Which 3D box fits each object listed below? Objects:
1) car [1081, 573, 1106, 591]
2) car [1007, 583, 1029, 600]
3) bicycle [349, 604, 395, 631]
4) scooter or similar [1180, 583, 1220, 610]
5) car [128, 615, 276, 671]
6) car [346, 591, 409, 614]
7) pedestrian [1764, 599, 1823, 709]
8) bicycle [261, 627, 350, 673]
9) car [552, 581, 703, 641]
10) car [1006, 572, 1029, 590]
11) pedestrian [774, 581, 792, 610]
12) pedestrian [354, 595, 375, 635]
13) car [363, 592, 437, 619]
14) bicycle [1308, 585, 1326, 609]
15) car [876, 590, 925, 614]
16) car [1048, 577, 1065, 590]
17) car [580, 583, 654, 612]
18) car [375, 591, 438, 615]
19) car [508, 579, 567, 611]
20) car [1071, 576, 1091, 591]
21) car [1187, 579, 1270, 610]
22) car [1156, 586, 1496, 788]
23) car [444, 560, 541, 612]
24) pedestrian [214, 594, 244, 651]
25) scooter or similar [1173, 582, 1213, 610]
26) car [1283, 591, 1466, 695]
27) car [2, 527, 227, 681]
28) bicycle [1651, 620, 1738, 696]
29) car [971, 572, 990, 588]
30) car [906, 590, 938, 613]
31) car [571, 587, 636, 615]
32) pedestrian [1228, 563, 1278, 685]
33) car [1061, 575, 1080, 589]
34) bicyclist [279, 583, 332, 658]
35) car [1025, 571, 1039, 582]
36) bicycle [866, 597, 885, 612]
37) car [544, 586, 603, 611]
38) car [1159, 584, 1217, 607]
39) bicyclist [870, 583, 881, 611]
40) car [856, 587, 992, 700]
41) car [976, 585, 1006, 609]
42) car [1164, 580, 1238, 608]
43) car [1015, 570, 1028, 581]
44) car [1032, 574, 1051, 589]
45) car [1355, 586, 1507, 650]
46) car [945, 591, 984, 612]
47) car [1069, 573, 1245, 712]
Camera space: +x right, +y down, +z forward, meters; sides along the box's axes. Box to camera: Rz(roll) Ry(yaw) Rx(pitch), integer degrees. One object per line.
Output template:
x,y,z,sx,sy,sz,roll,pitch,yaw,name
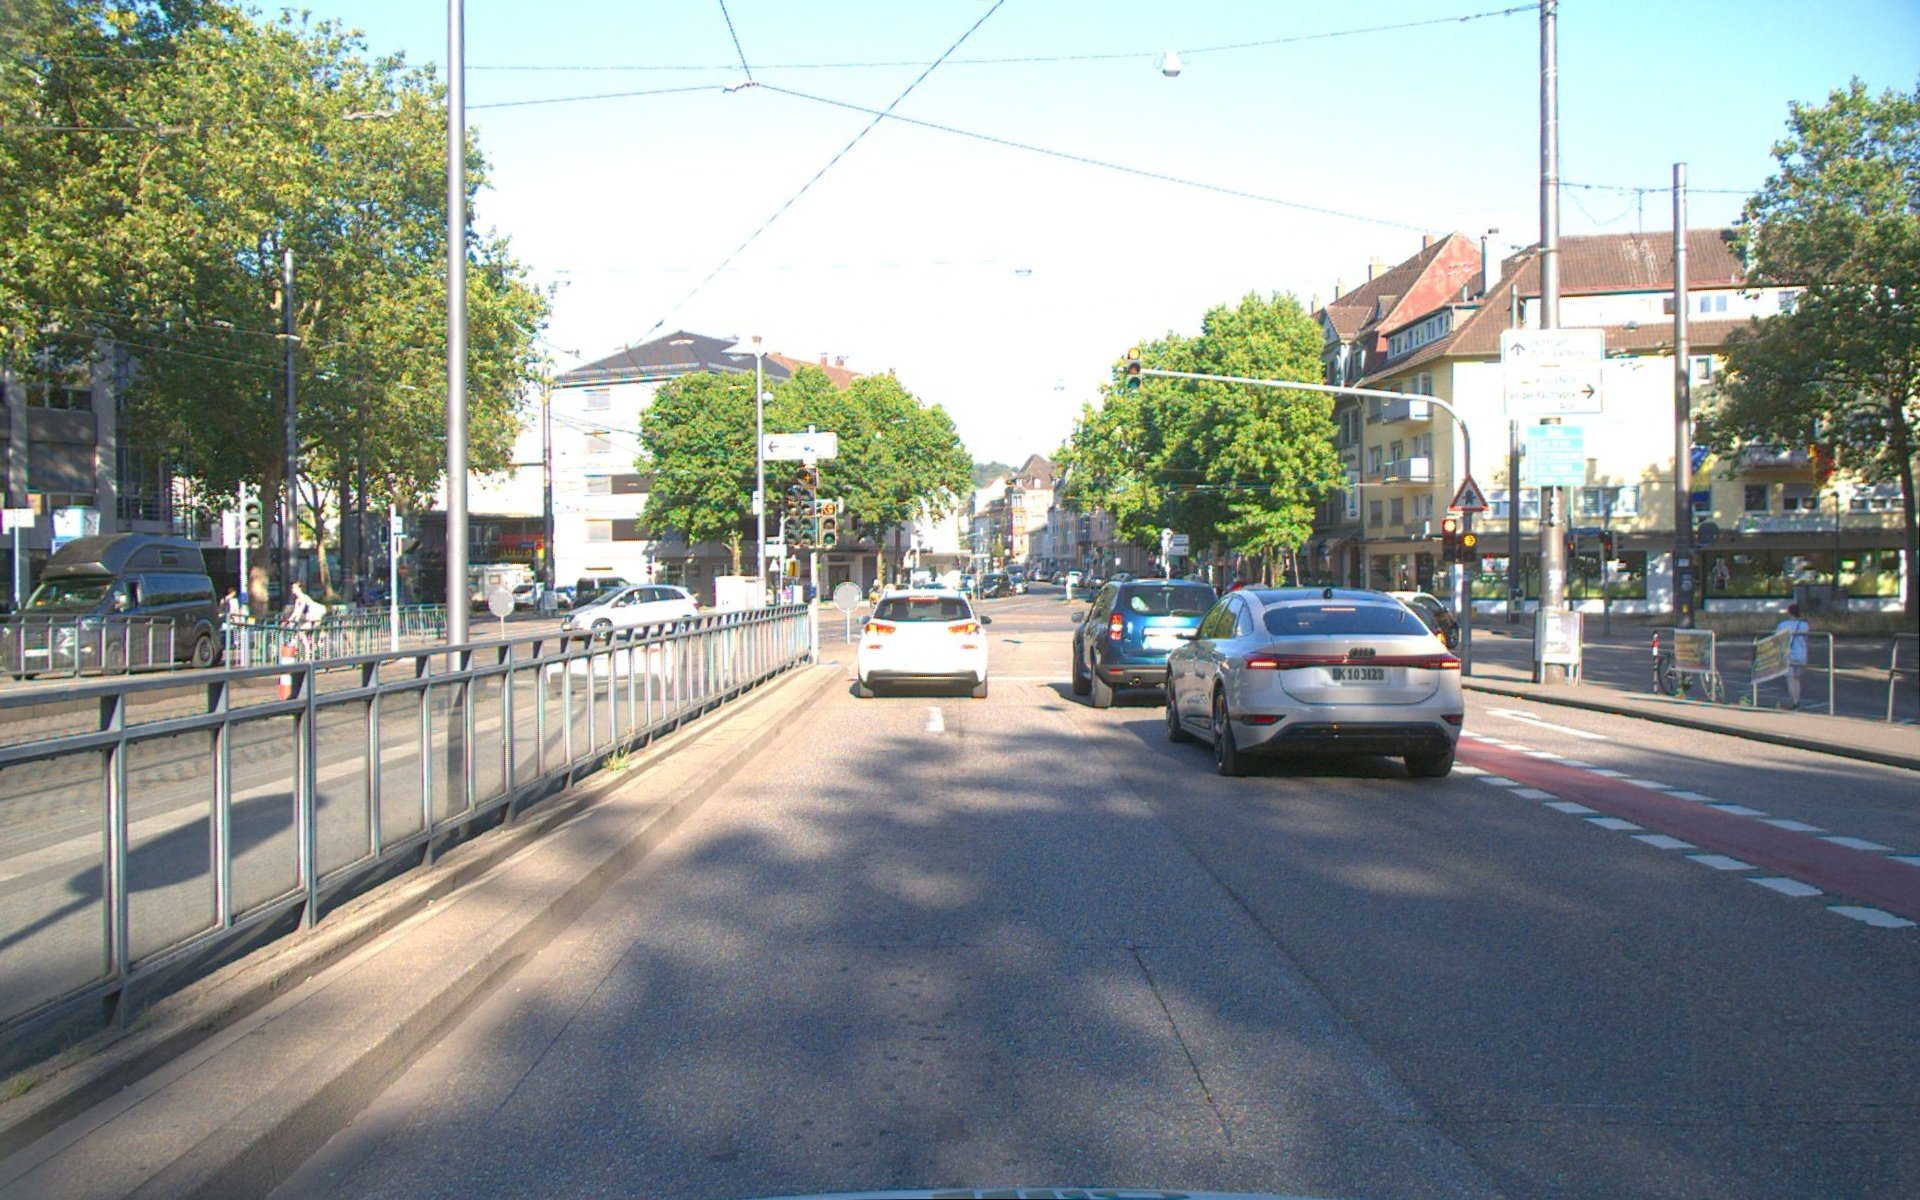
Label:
13.575,-1.865,168.342,2.062,1.807,4.340,-1,0,-1,car
5.375,-0.786,154.576,1.758,1.536,3.999,-1,0,-2,car
-25.035,0.758,70.435,1.757,1.127,0.500,-1,0,2,bicycle
11.648,-0.179,80.236,1.915,1.303,0.550,0,0,41,scooter or similar
-16.681,0.933,36.551,2.026,1.183,2.910,0,-1,-3,car
-38.877,0.157,110.426,1.758,1.536,3.999,0,0,23,car
12.428,0.789,24.679,0.634,1.590,0.632,2,0,18,pedestrian
-12.810,0.972,32.389,0.516,0.830,1.611,0,0,34,bicycle
-9.973,0.323,49.714,4.111,1.722,1.799,0,0,-35,car
5.122,-1.655,146.584,1.758,1.536,3.999,-1,0,-2,car
-11.012,-0.276,103.159,0.820,1.802,0.782,0,0,25,pedestrian
-25.204,0.639,69.976,0.634,1.690,0.650,0,0,2,pedestrian
-33.291,0.315,98.349,3.904,1.536,1.801,0,0,20,car
17.241,-0.142,79.945,0.596,1.127,1.801,0,0,4,bicycle
-3.953,0.138,110.352,1.689,1.537,3.874,-1,0,24,car
11.716,-1.985,200.241,1.758,1.549,3.999,-1,0,-1,car
-18.201,-0.133,87.680,3.925,1.537,1.791,0,0,40,car
-36.501,0.164,109.095,1.758,1.536,3.999,0,0,23,car
-26.724,-0.314,104.779,1.756,1.990,4.002,0,0,18,car
12.800,-1.771,174.859,1.758,1.536,3.999,-1,0,-1,car
13.921,-0.282,85.868,3.914,1.536,1.796,-1,0,-9,car
3.009,0.624,14.709,1.890,1.498,4.854,0,0,-1,car
-29.810,-0.905,105.729,2.445,3.220,6.535,0,0,22,car
-20.358,0.614,46.071,0.524,1.579,0.677,-1,0,-1,pedestrian
11.199,-0.188,79.679,1.915,1.303,0.550,0,0,41,scooter or similar
6.338,0.608,25.747,1.763,1.464,4.044,1,0,-1,car
-16.482,0.100,32.578,2.026,2.791,5.028,0,-1,-3,car
11.090,0.862,25.027,0.488,1.093,1.800,1,-1,-1,bicycle
2.130,-2.042,169.452,1.758,1.536,3.999,-1,0,-2,car
-2.656,0.107,116.362,1.756,1.537,4.003,-1,0,6,car
-21.917,0.040,101.934,1.760,1.677,4.005,0,0,28,car
4.620,0.374,26.120,0.643,1.903,0.677,0,0,-1,pedestrian
12.050,-1.996,181.008,1.758,1.536,3.999,-1,0,-1,car
-12.813,0.391,32.387,0.516,1.439,0.800,0,0,35,bicyclist
10.069,-3.304,230.703,1.758,1.536,3.999,-1,0,-1,car
-5.408,0.296,105.958,0.458,0.973,1.767,0,0,22,bicycle
-24.261,-0.113,103.915,1.756,1.536,4.012,0,0,18,car
15.236,-0.307,110.567,3.968,1.536,1.772,-1,1,-43,car
-5.410,-0.205,105.959,0.458,1.775,0.717,0,0,22,bicyclist
-0.514,0.559,23.681,1.771,1.478,3.999,0,0,-1,car
2.499,-0.281,131.931,1.756,1.858,4.004,0,0,9,car
14.019,-0.361,96.216,3.911,1.536,1.797,-1,0,-7,car
9.312,-3.737,250.520,1.758,1.536,3.999,-1,0,-1,car
11.079,-2.502,225.251,2.280,2.049,4.975,-1,0,-1,car
12.300,0.442,43.129,3.954,1.536,1.778,-1,2,-35,car
0.358,0.133,124.465,1.756,1.537,4.002,-1,0,18,car
2.500,0.490,21.872,1.764,1.666,4.044,0,0,-1,car
